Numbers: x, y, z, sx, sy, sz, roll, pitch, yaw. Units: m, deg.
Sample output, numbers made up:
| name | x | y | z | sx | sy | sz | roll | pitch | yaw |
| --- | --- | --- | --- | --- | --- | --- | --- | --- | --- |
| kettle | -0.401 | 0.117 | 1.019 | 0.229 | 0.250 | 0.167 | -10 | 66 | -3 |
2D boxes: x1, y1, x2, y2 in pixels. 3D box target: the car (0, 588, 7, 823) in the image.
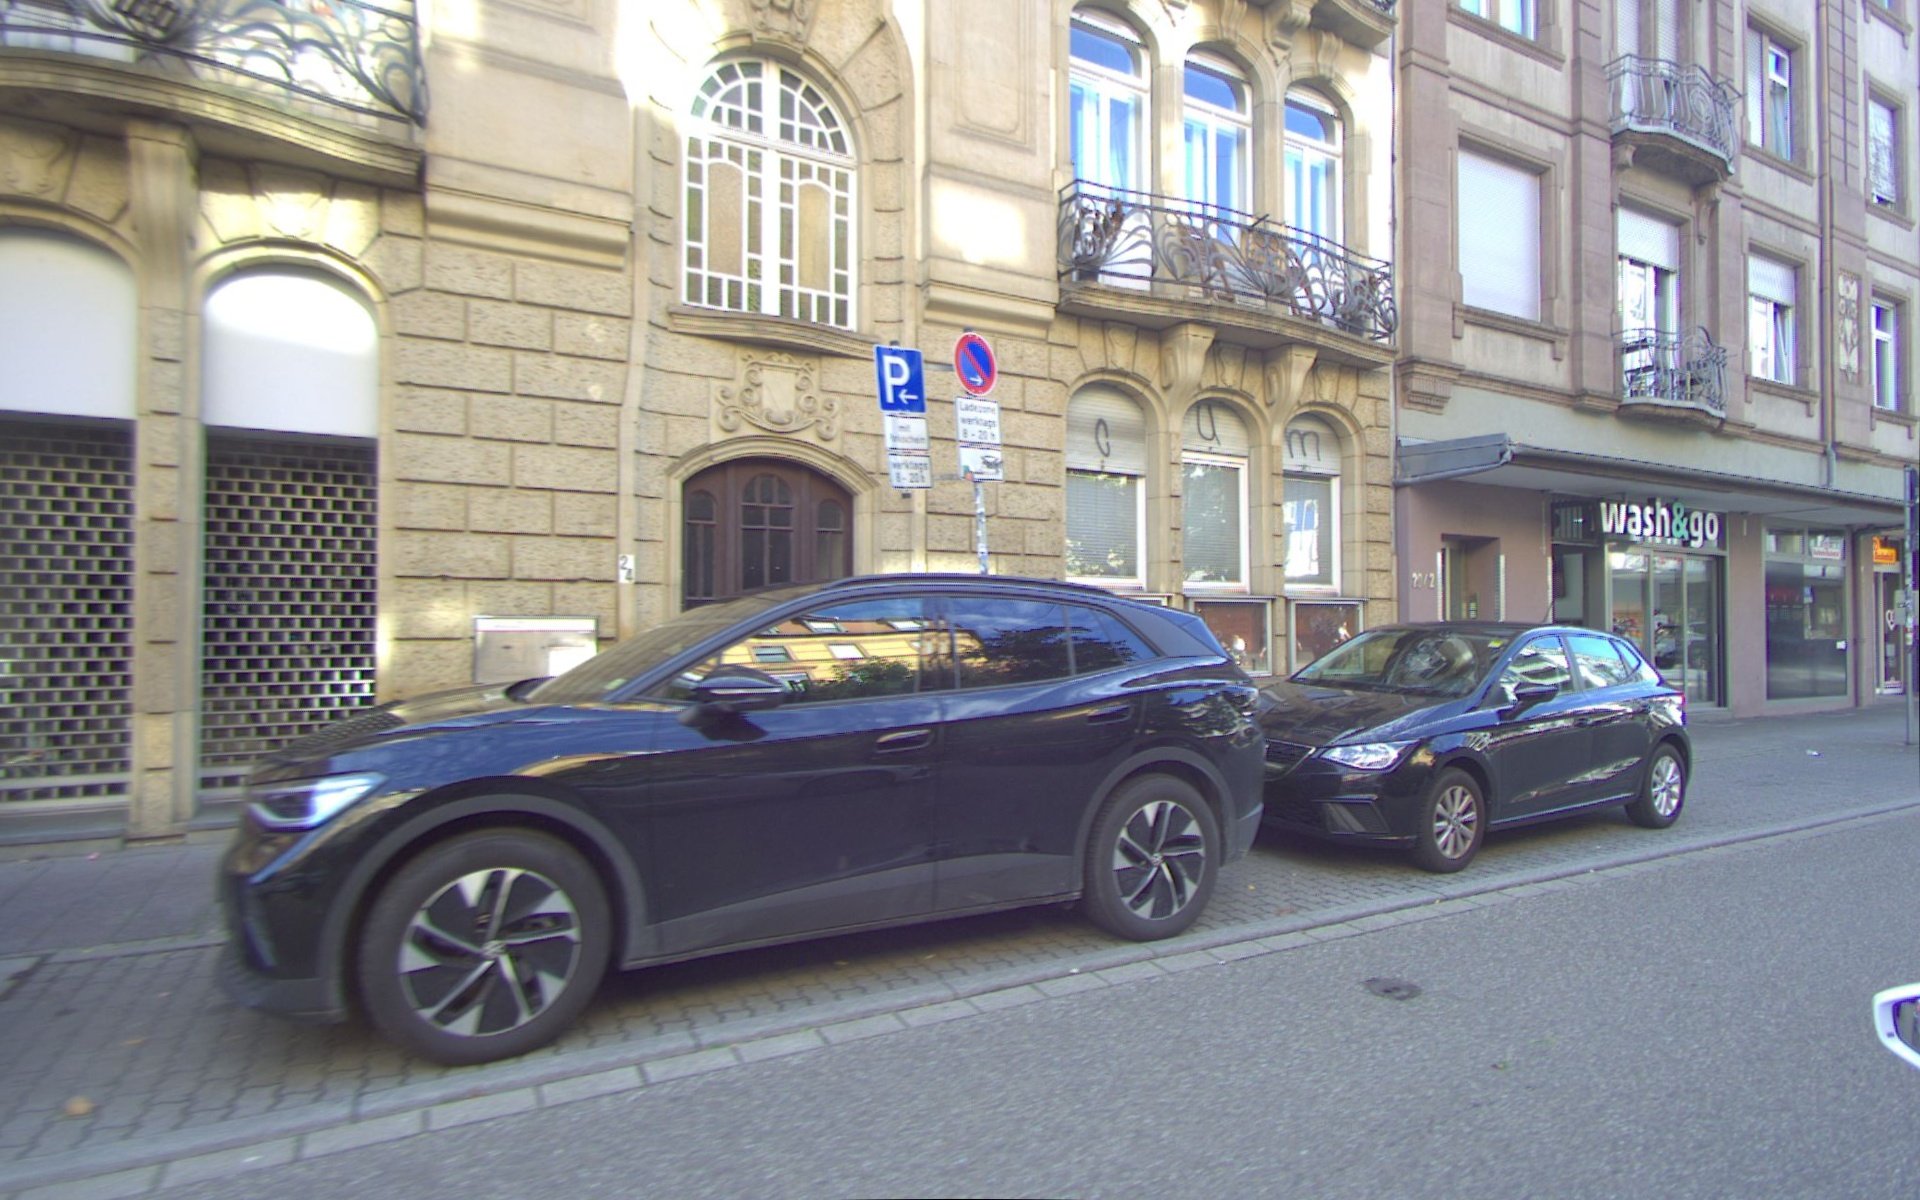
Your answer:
| name | x | y | z | sx | sy | sz | roll | pitch | yaw |
| --- | --- | --- | --- | --- | --- | --- | --- | --- | --- |
| car | -5.397 | 0.665 | 2.207 | 4.374 | 1.565 | 1.985 | 1 | -2 | -30 |

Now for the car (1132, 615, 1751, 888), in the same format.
| name | x | y | z | sx | sy | sz | roll | pitch | yaw |
| --- | --- | --- | --- | --- | --- | --- | --- | --- | --- |
| car | 3.510 | 0.853 | 7.221 | 4.193 | 1.439 | 1.985 | 1 | -2 | -29 |

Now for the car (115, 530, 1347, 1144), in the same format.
| name | x | y | z | sx | sy | sz | roll | pitch | yaw |
| --- | --- | --- | --- | --- | --- | --- | --- | --- | --- |
| car | -0.581 | 0.708 | 4.658 | 4.787 | 1.650 | 1.783 | 1 | -2 | -29 |
